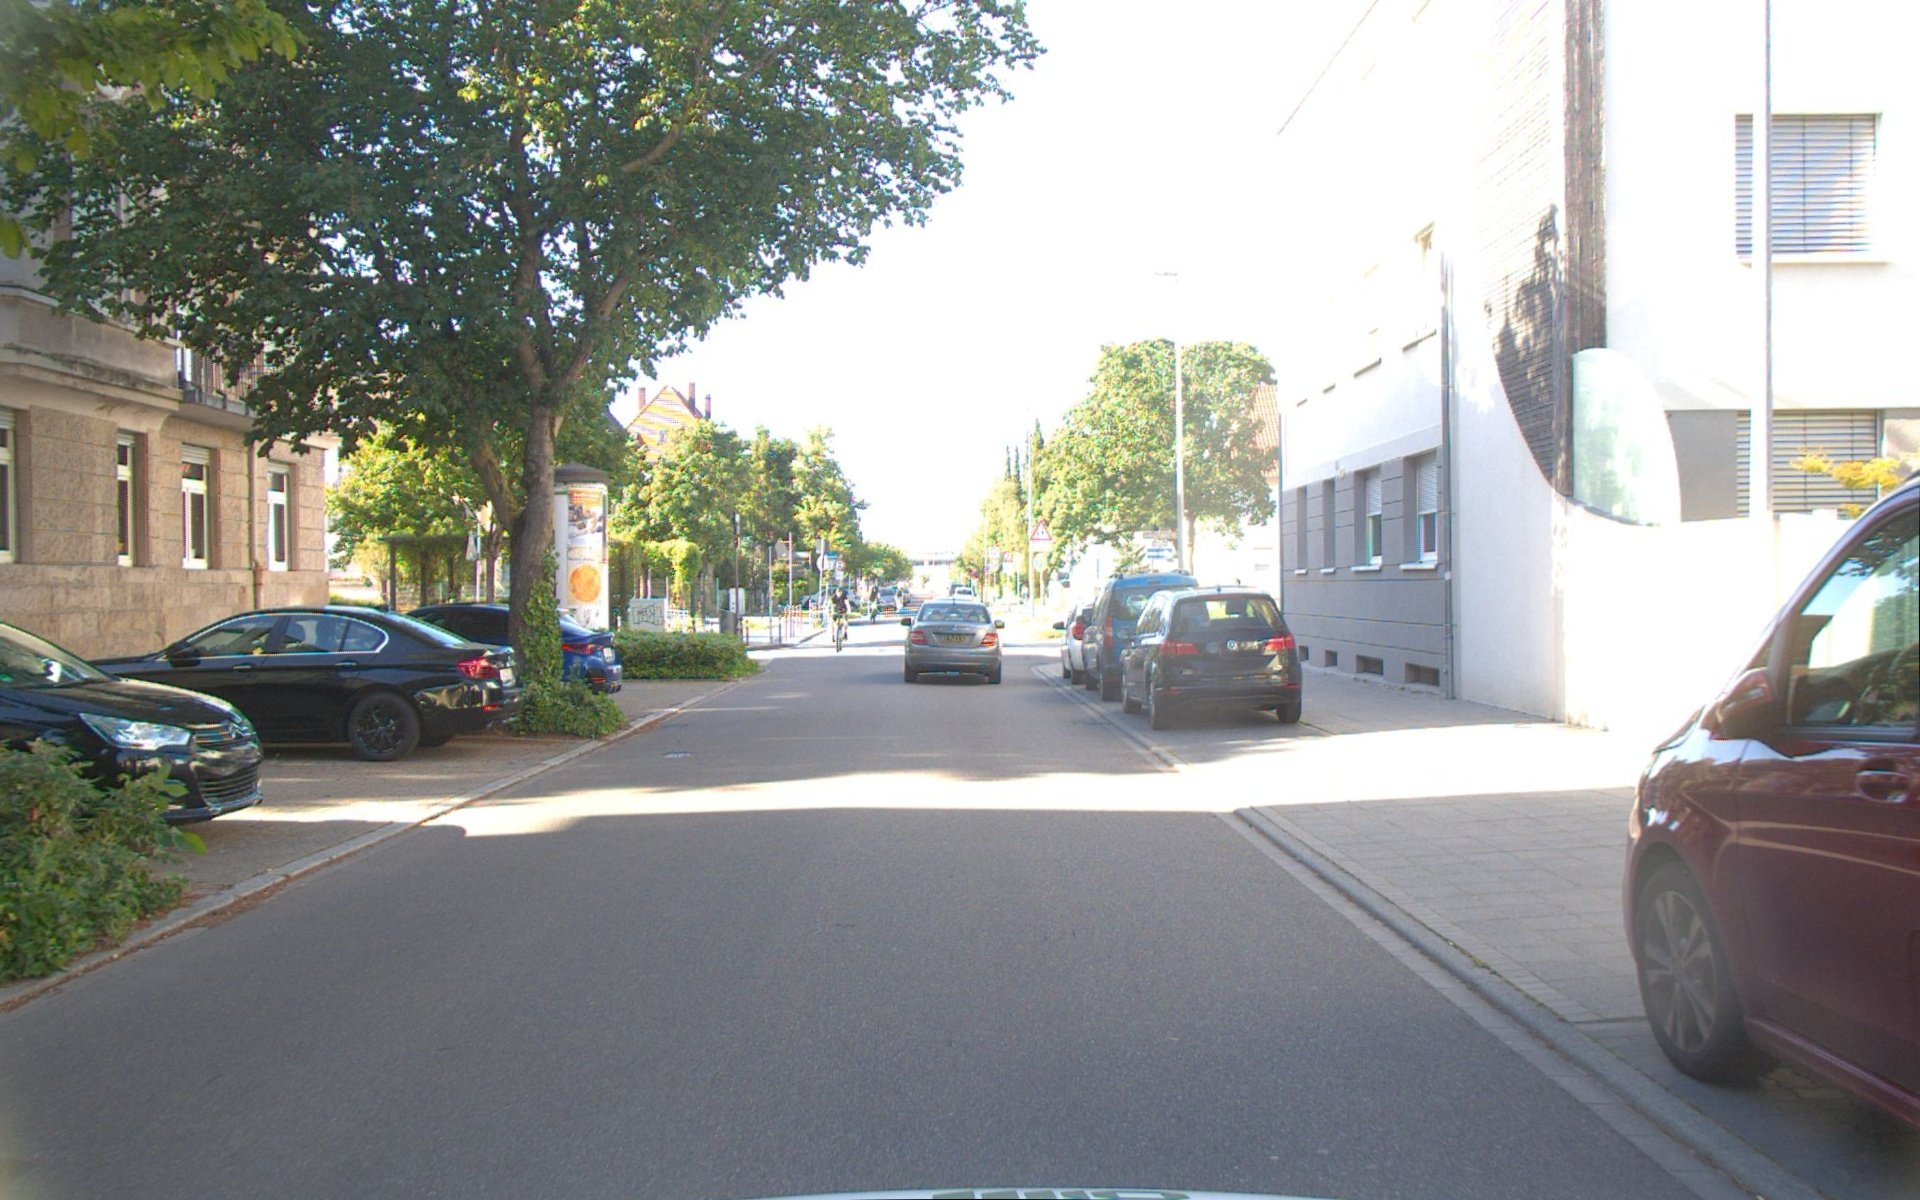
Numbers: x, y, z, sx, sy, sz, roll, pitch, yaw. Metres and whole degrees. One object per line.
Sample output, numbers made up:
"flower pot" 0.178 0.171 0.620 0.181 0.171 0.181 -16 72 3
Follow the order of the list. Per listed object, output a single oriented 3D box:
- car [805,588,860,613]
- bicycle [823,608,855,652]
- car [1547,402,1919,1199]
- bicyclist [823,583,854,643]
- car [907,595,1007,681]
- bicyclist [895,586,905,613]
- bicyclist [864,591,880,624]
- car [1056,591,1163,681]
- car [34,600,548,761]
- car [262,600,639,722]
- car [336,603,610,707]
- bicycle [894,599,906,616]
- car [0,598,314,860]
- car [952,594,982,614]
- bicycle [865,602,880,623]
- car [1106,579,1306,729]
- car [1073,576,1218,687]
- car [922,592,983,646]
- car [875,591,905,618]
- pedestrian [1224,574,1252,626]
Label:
"car" -8.265 0.039 107.123 3.427 1.560 1.642 0 0 -8
"bicycle" -3.207 0.790 44.097 0.705 1.098 1.890 -1 0 0
"car" 3.121 0.488 3.573 1.833 1.938 5.197 -2 0 0
"bicyclist" -3.242 0.352 44.136 0.706 1.563 1.137 -1 0 -1
"car" -0.042 0.681 30.368 1.691 1.445 3.960 1 -1 0
"bicyclist" -3.493 -0.014 96.054 0.560 1.535 0.655 -1 0 0
"bicyclist" -4.091 0.348 77.177 0.666 1.535 0.655 -1 0 0
"car" 2.683 0.647 30.344 1.532 1.435 3.729 -5 -1 0
"car" -6.571 0.781 16.644 4.384 1.505 1.867 0 -1 -3
"car" -6.589 0.784 21.778 4.384 1.505 1.867 0 -1 -3
"car" -7.078 0.786 24.302 3.507 1.455 1.730 0 0 -1
"bicycle" -3.491 0.451 96.047 0.577 0.948 1.850 -1 0 0
"car" -6.531 0.746 10.531 4.094 1.526 1.996 1 -1 -8
"car" 0.470 0.238 114.997 1.689 1.353 3.996 0 0 -5
"bicycle" -4.068 0.567 77.193 0.577 0.948 1.850 -1 0 0
"car" 2.893 0.594 20.271 1.702 1.558 4.178 -3 0 -1
"car" 2.818 0.489 25.983 1.648 1.460 4.265 -5 -1 -1
"car" -0.251 0.554 48.102 1.672 1.473 4.201 1 -1 -1
"car" -4.746 0.313 112.351 1.836 1.758 3.996 -1 0 -5
"pedestrian" 9.030 0.003 53.712 0.635 1.651 0.615 -1 0 37
